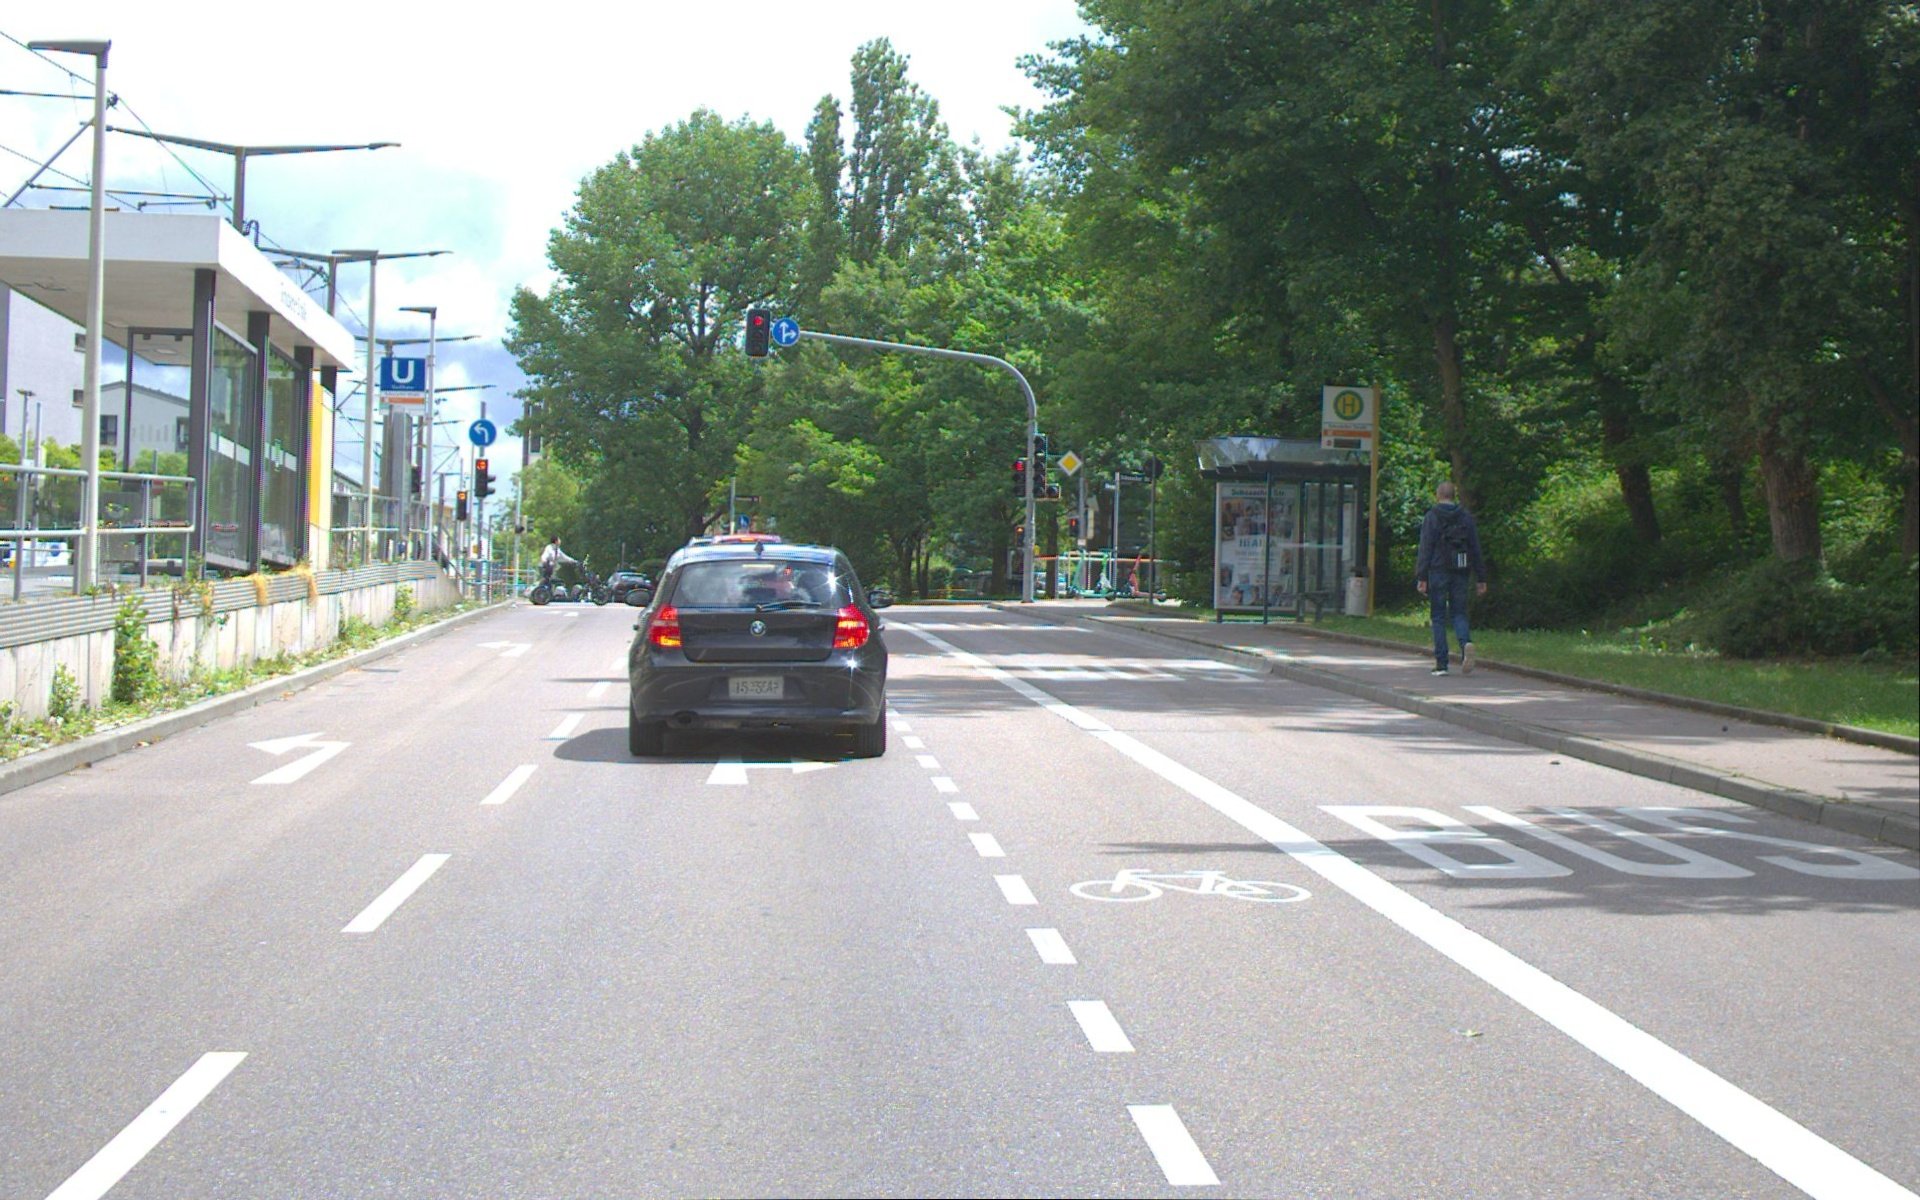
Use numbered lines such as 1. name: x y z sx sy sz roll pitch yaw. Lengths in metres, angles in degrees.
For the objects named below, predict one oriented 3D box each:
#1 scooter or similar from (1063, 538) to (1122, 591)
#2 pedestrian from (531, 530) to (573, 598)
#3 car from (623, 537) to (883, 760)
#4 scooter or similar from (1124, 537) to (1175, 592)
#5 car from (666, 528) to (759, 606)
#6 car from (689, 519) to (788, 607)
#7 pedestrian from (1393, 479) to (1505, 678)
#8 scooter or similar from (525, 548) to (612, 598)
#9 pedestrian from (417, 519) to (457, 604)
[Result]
1. scooter or similar: 3.018 -0.805 78.250 1.287 1.185 0.385 0 1 -19
2. pedestrian: -8.700 -0.763 73.234 0.865 1.437 0.799 0 1 -8
3. car: -1.394 0.282 23.822 1.654 1.414 3.517 1 1 -2
4. scooter or similar: 4.356 -0.813 79.088 1.106 1.253 0.332 0 1 -15
5. car: -4.701 -0.638 65.074 1.654 1.414 3.518 1 1 -5
6. car: -3.693 -0.629 57.541 1.594 1.414 3.517 1 1 -3
7. pedestrian: 4.788 -0.217 33.721 0.801 1.889 1.271 2 1 -3
8. scooter or similar: -8.292 -0.574 72.763 1.780 1.047 0.410 0 1 -15
9. pedestrian: -10.063 -0.743 66.131 0.701 1.627 0.638 0 1 -3
